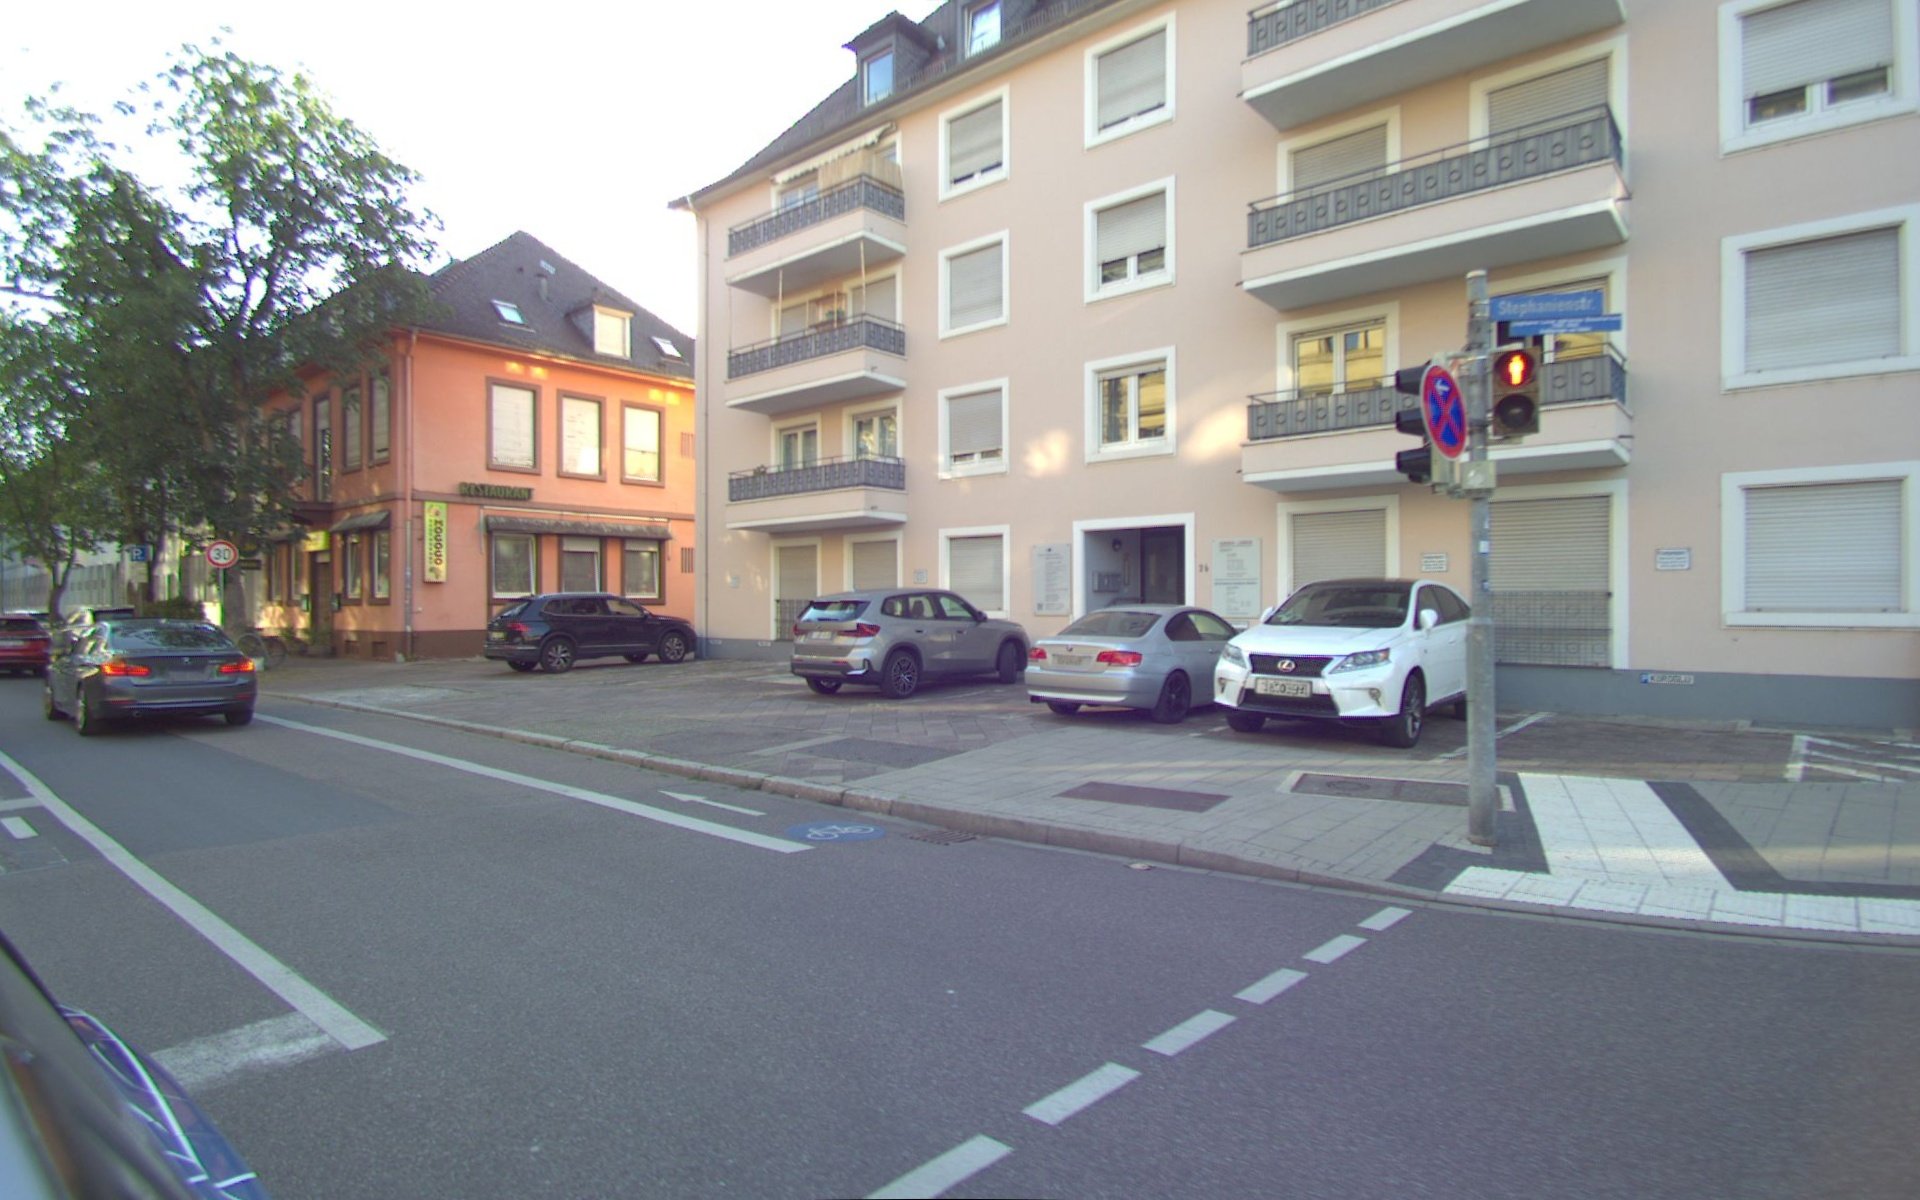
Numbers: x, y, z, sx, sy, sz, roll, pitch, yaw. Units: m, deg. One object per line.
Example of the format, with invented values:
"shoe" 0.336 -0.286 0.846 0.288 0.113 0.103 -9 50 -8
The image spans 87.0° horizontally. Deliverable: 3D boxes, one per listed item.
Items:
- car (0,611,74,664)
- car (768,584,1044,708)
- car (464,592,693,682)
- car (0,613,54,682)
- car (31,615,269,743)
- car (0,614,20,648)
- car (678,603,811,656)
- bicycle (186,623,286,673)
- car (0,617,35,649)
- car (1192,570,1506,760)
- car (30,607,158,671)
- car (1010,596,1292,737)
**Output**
"car" -34.376 1.326 37.045 4.645 1.680 1.813 -1 3 35
"car" -0.707 0.616 16.095 1.914 1.617 4.374 -1 1 39
"car" -8.307 0.736 22.378 1.862 1.678 4.374 -1 1 39
"car" -23.672 1.130 24.424 4.839 1.557 1.813 -1 -2 37
"car" -11.176 0.948 13.857 4.421 1.470 1.764 0 -1 41
"car" -50.525 1.596 51.186 1.798 1.702 4.178 -1 -1 38
"car" -6.723 0.879 31.805 1.884 1.567 3.762 -1 -1 39
"bicycle" -17.162 1.118 24.031 0.609 1.112 1.850 -1 0 34
"car" -48.262 1.625 49.626 1.801 1.557 4.172 -1 -1 43
"car" 4.487 0.539 11.236 1.940 1.653 4.396 -1 1 39
"car" -27.475 1.181 32.049 5.037 1.772 1.813 -1 3 35
"car" 2.602 0.719 13.010 1.734 1.391 4.224 -1 1 39
